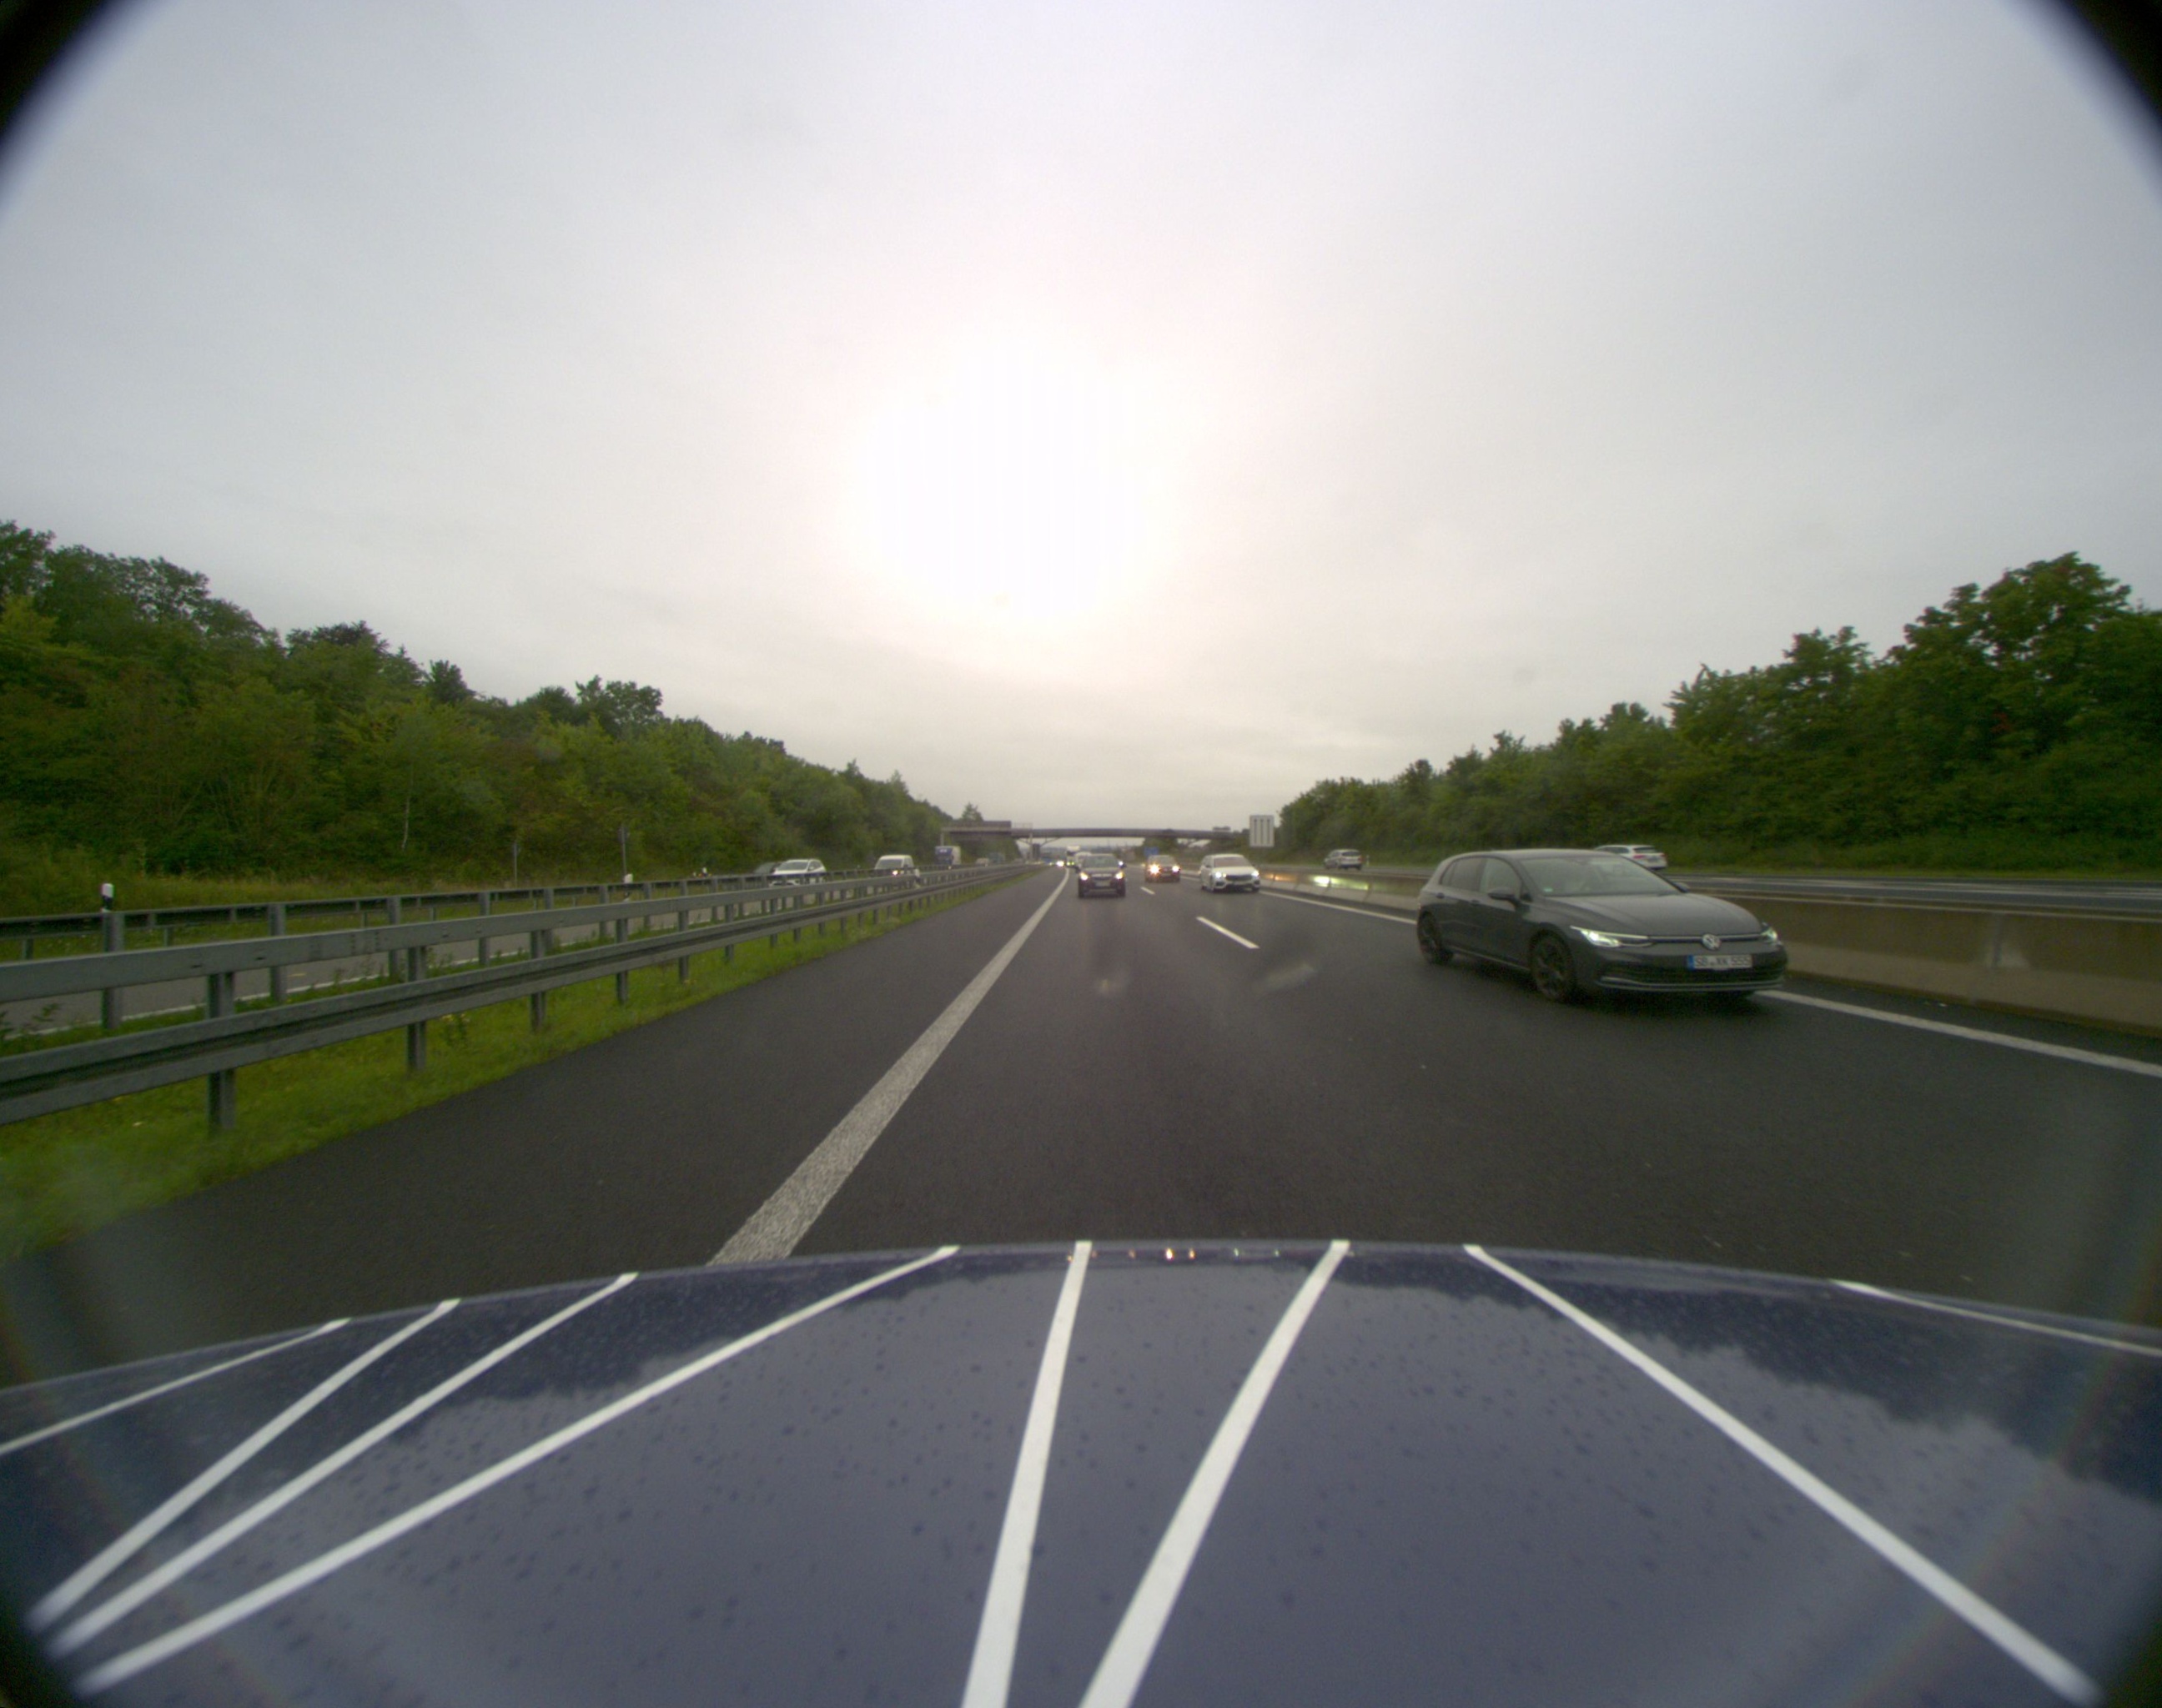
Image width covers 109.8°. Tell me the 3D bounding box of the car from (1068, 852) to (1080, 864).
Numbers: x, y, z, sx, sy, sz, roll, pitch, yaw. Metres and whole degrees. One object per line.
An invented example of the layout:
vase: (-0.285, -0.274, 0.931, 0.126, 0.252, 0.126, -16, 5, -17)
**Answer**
car: (-1.131, 0.631, 122.630, 1.715, 1.724, 4.000, -2, 0, 0)

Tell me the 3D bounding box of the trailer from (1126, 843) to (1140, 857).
trailer: (16.160, -1.199, 237.975, 3.268, 4.059, 13.843, -1, 0, -1)

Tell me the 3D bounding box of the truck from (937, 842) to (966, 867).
truck: (-18.935, 0.066, 111.309, 2.909, 3.397, 9.279, -2, 0, -2)

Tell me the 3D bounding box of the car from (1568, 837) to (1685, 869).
car: (26.532, -0.055, 37.156, 2.187, 1.421, 4.384, -2, 0, -8)

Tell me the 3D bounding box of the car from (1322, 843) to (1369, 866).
car: (20.706, 0.035, 59.603, 2.185, 1.625, 4.537, -1, 0, 2)

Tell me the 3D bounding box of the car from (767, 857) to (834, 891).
car: (-14.605, 1.000, 39.768, 1.901, 1.603, 4.145, -1, 0, 0)

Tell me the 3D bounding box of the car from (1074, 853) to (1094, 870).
car: (0.332, 0.751, 77.572, 1.825, 1.669, 4.000, -2, 0, 3)

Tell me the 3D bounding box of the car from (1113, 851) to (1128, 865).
car: (5.296, 0.508, 102.281, 1.715, 1.724, 4.000, -2, 0, 0)

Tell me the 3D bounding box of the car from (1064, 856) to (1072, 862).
car: (-3.945, 1.392, 229.932, 1.917, 1.671, 4.000, -2, 0, 2)

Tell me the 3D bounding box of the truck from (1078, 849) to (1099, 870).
truck: (0.865, 0.550, 84.556, 2.175, 2.214, 5.643, -1, 0, 2)

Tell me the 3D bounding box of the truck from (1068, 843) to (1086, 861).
truck: (-0.760, -0.415, 146.350, 3.153, 3.332, 13.099, -2, 0, 1)

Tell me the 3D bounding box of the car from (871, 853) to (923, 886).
car: (-10.937, 0.894, 45.469, 2.013, 1.804, 4.276, -1, 0, 0)

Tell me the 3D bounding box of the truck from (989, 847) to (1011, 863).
truck: (-18.838, 0.180, 177.605, 2.908, 3.397, 13.356, -2, 0, 4)

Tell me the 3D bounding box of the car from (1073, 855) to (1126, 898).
car: (0.759, 0.835, 29.796, 1.905, 1.497, 4.114, -1, 0, 2)
